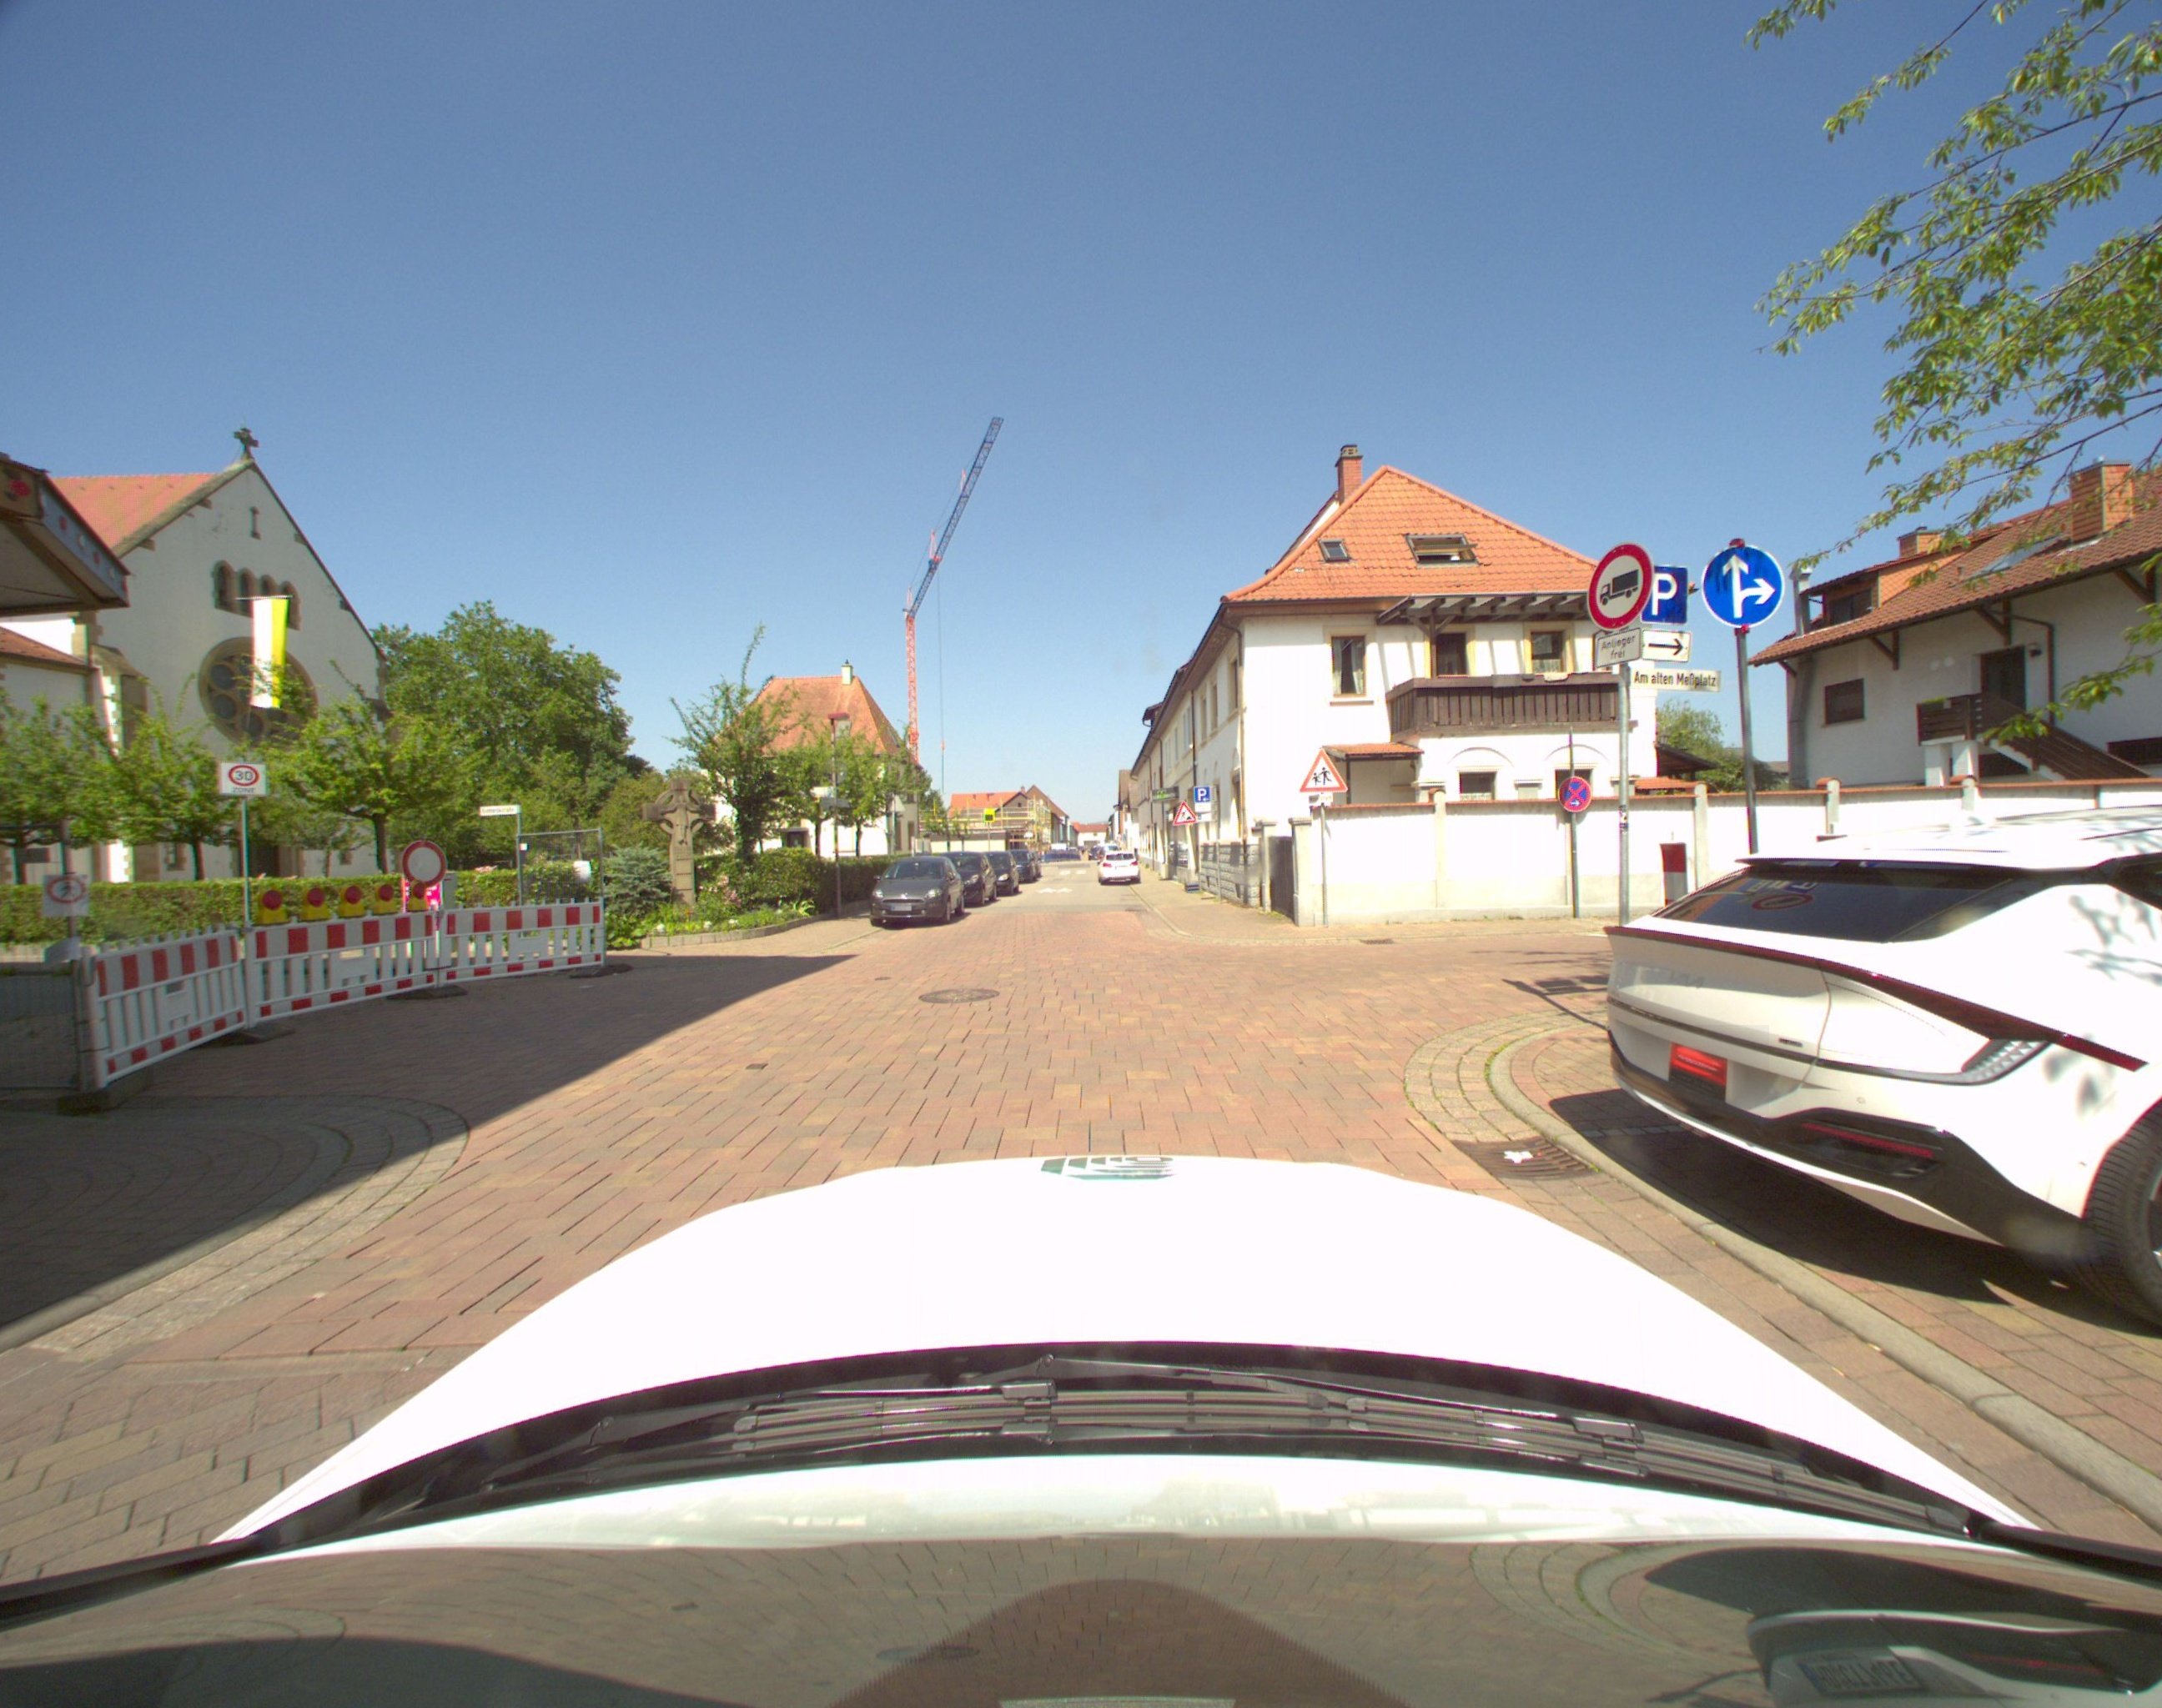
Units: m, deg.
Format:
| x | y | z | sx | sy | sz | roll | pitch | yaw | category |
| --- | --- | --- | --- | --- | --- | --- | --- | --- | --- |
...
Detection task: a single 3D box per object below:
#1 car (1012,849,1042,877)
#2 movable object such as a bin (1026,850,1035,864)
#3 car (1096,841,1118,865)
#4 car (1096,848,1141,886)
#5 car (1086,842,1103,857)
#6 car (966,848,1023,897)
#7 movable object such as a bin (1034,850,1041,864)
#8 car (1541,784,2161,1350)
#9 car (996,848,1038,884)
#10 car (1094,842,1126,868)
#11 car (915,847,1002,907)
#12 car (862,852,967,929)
| x | y | z | sx | sy | sz | roll | pitch | yaw | category |
| --- | --- | --- | --- | --- | --- | --- | --- | --- | --- |
| -3.028 | 0.462 | 46.558 | 1.432 | 1.474 | 3.786 | -2 | 0 | 0 | car |
| -4.078 | 0.230 | 65.796 | 0.621 | 1.155 | 0.676 | -2 | 1 | -6 | movable object such as a bin |
| 1.983 | -0.111 | 62.425 | 1.559 | 1.612 | 3.544 | -2 | 3 | 1 | car |
| 1.778 | 0.547 | 37.369 | 1.878 | 1.542 | 4.248 | -2 | 1 | 4 | car |
| 1.580 | -0.562 | 93.574 | 1.875 | 1.668 | 4.153 | -1 | 1 | 0 | car |
| -3.154 | 0.623 | 30.336 | 1.632 | 1.628 | 3.768 | -2 | 1 | 0 | car |
| -3.541 | 0.226 | 66.286 | 0.431 | 1.155 | 0.363 | -2 | 1 | -9 | movable object such as a bin |
| 4.563 | 0.503 | 3.214 | 4.424 | 1.575 | 1.789 | -4 | 0 | 1 | car |
| -3.176 | 0.554 | 41.121 | 1.821 | 1.630 | 4.216 | -2 | 1 | -1 | car |
| 1.979 | 0.046 | 57.149 | 1.880 | 1.556 | 3.892 | -5 | 1 | -2 | car |
| -3.612 | 0.621 | 24.665 | 1.808 | 1.604 | 4.027 | -2 | 1 | 2 | car |
| -3.712 | 0.750 | 18.781 | 1.698 | 1.496 | 3.854 | -2 | 1 | -2 | car |
